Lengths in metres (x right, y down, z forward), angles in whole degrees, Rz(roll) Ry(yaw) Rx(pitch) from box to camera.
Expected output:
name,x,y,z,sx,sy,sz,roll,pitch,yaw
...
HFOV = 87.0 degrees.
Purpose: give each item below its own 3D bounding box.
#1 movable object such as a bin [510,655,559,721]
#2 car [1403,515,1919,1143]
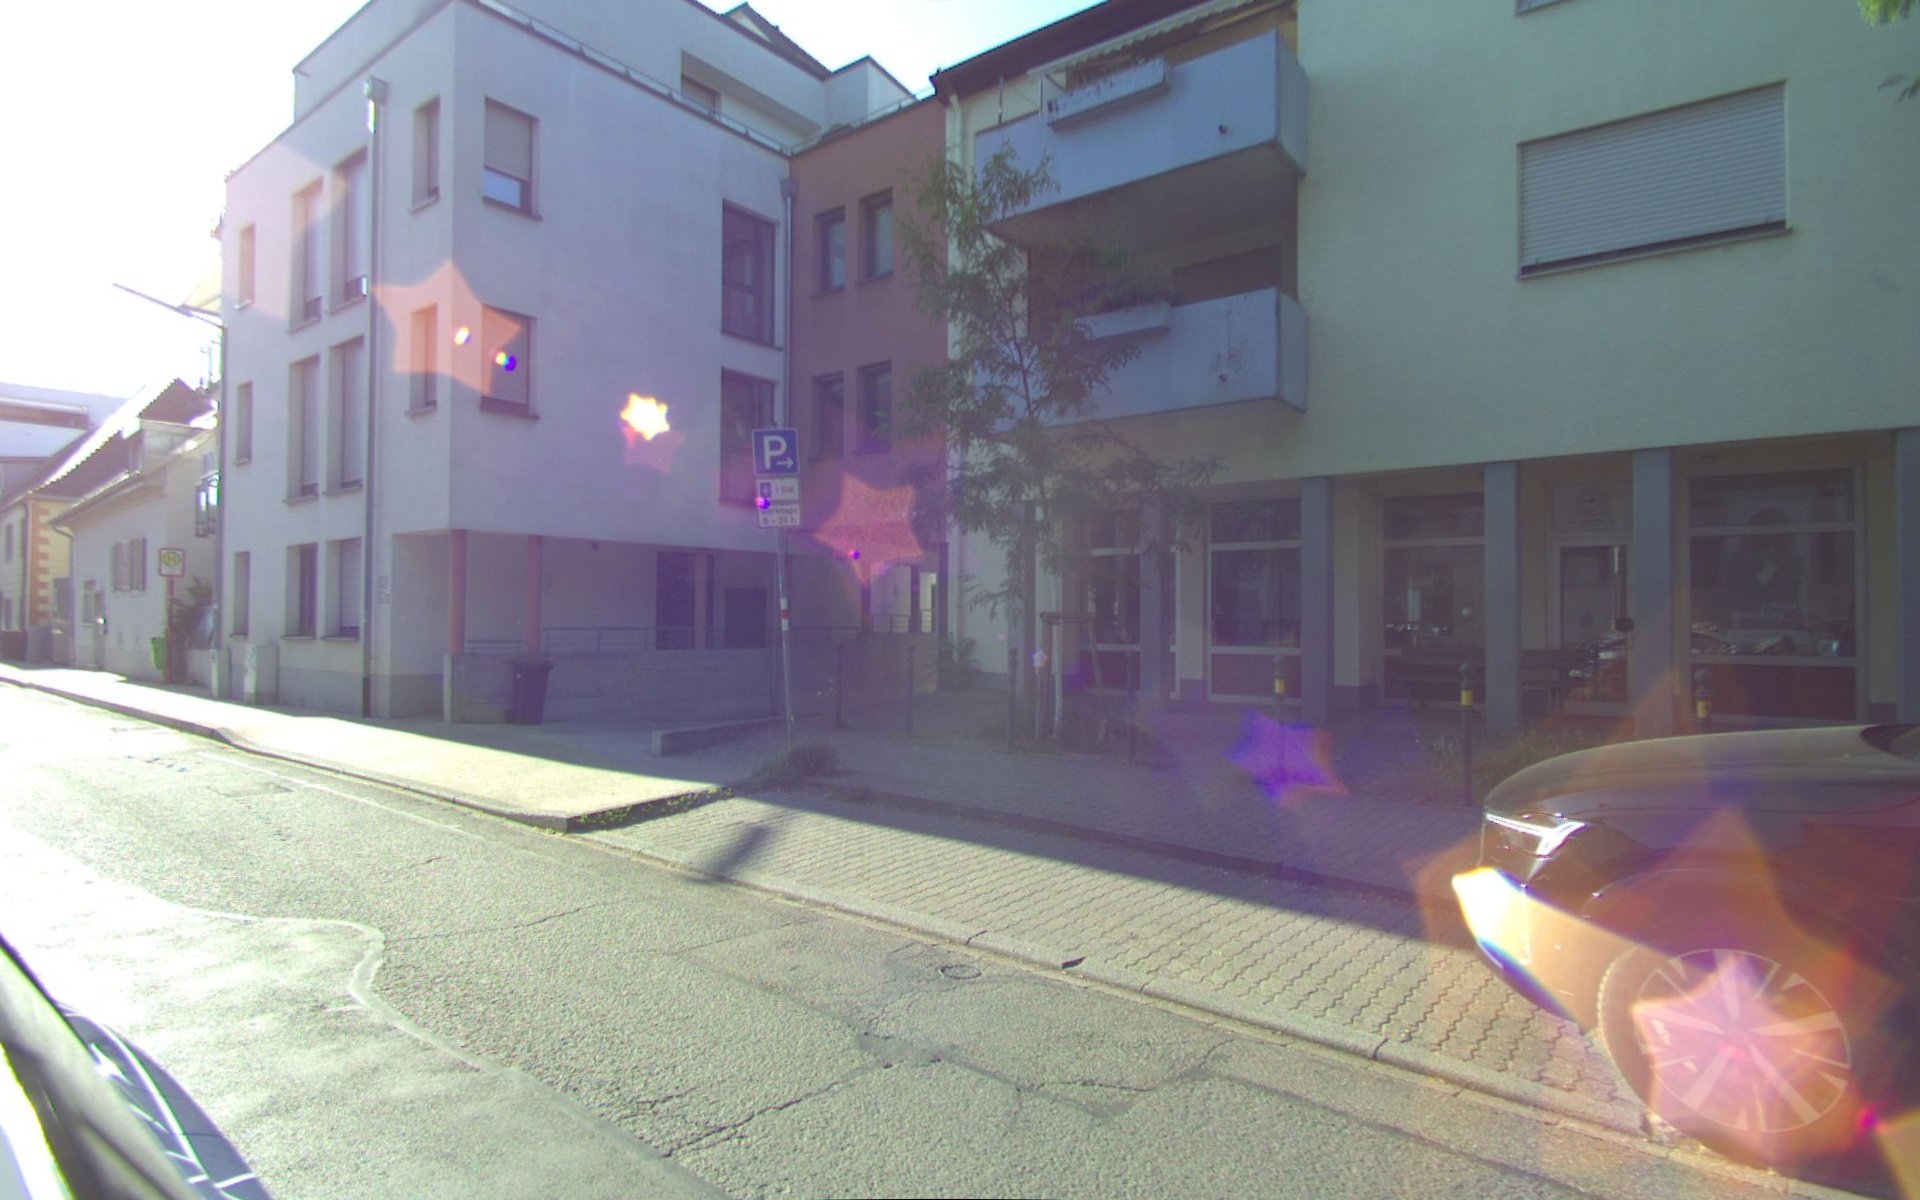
name,x,y,z,sx,sy,sz,roll,pitch,yaw
movable object such as a bin,-6.029,1.235,14.331,0.433,0.882,0.485,-1,-2,37
car,4.144,0.582,2.684,5.097,1.718,1.912,-1,1,41
